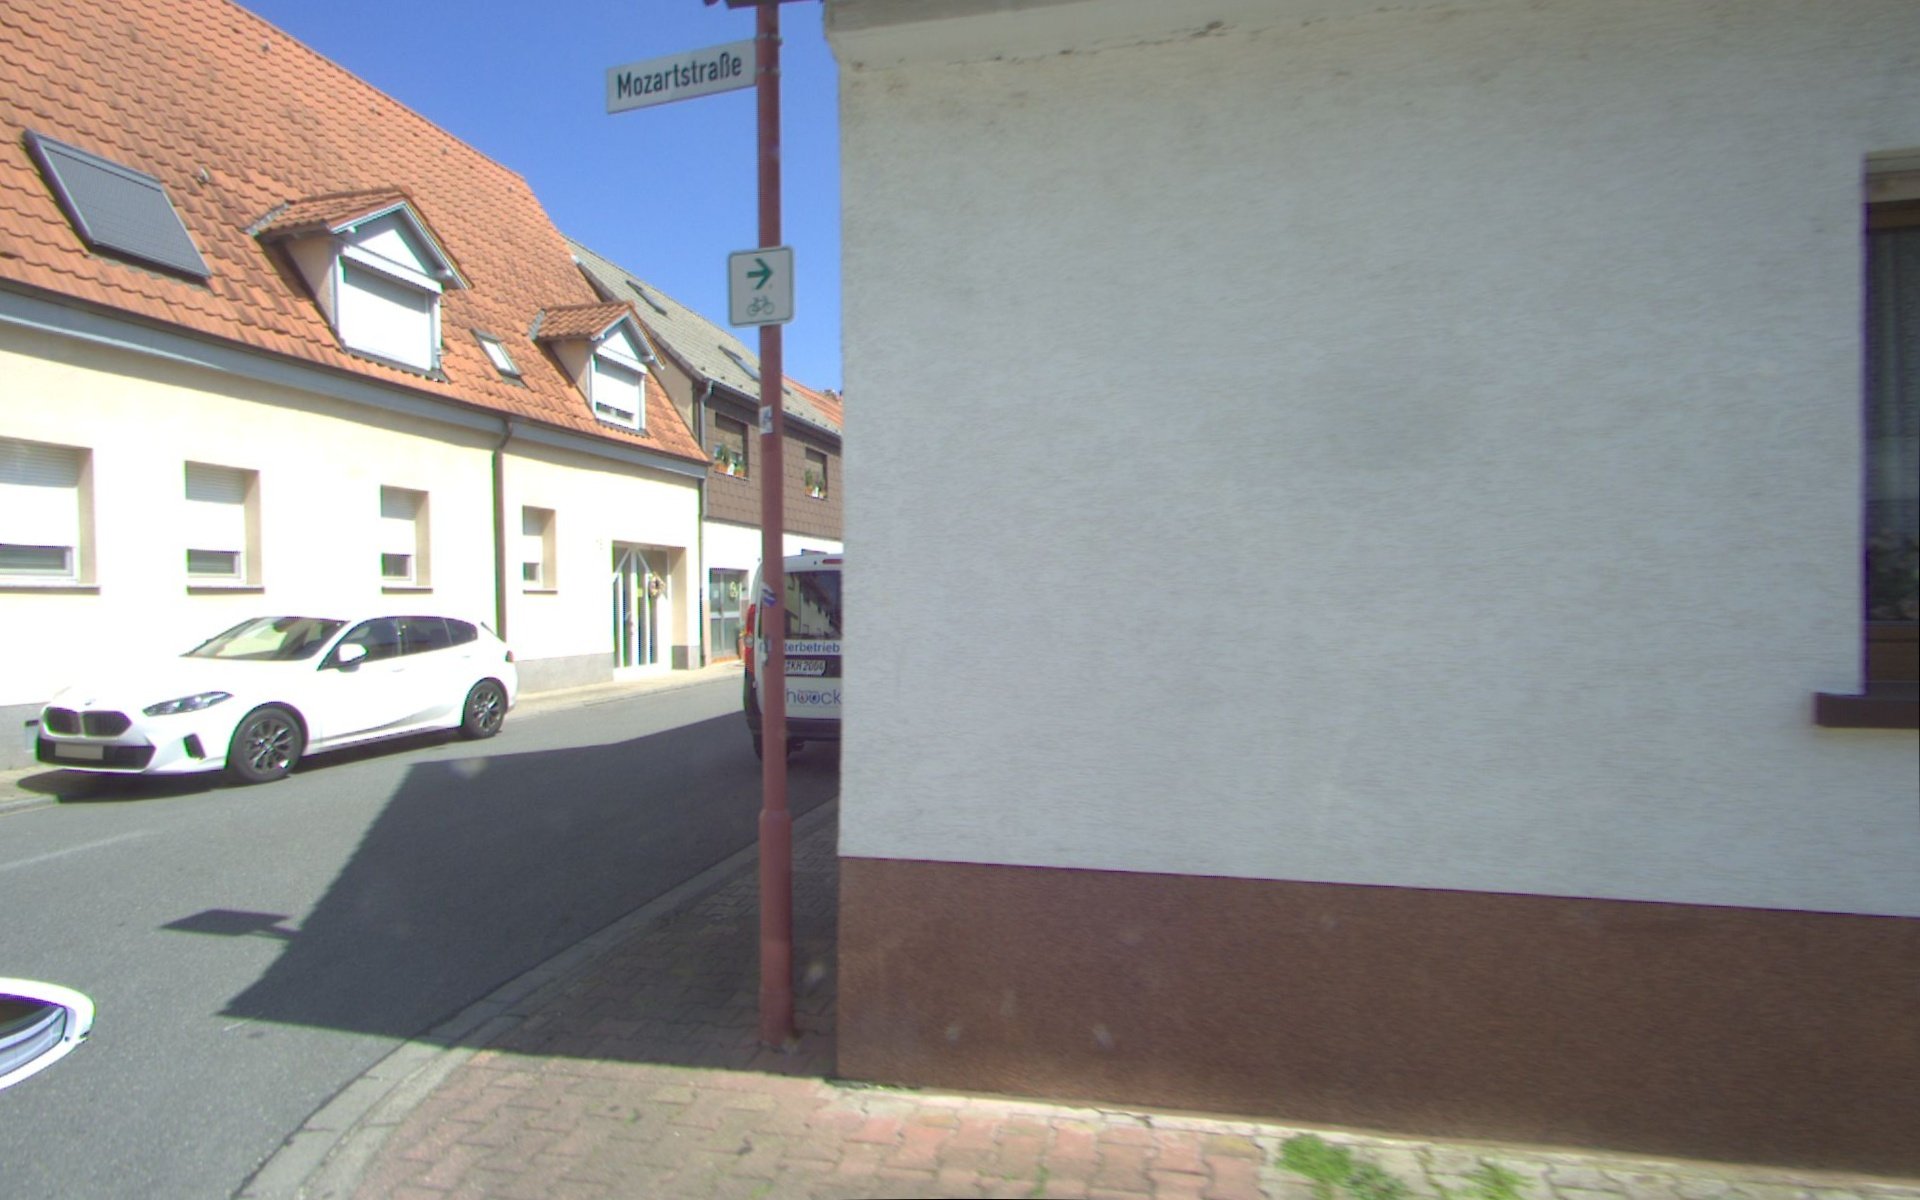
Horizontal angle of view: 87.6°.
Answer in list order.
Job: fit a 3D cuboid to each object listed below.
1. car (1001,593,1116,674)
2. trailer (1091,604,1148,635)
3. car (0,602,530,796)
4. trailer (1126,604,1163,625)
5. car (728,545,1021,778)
[{"bbox_3d":[2.240,0.658,21.571,1.763,1.501,4.928,-2,-1,14],"label":"car"},{"bbox_3d":[6.198,0.725,38.620,1.790,1.105,3.476,0,0,15],"label":"trailer"},{"bbox_3d":[-6.411,0.773,9.886,1.755,1.473,4.210,-1,0,14],"label":"car"},{"bbox_3d":[9.784,0.747,52.938,1.674,1.047,3.477,0,0,15],"label":"trailer"},{"bbox_3d":[-0.584,0.497,10.596,1.781,1.849,4.847,1,0,11],"label":"car"}]
